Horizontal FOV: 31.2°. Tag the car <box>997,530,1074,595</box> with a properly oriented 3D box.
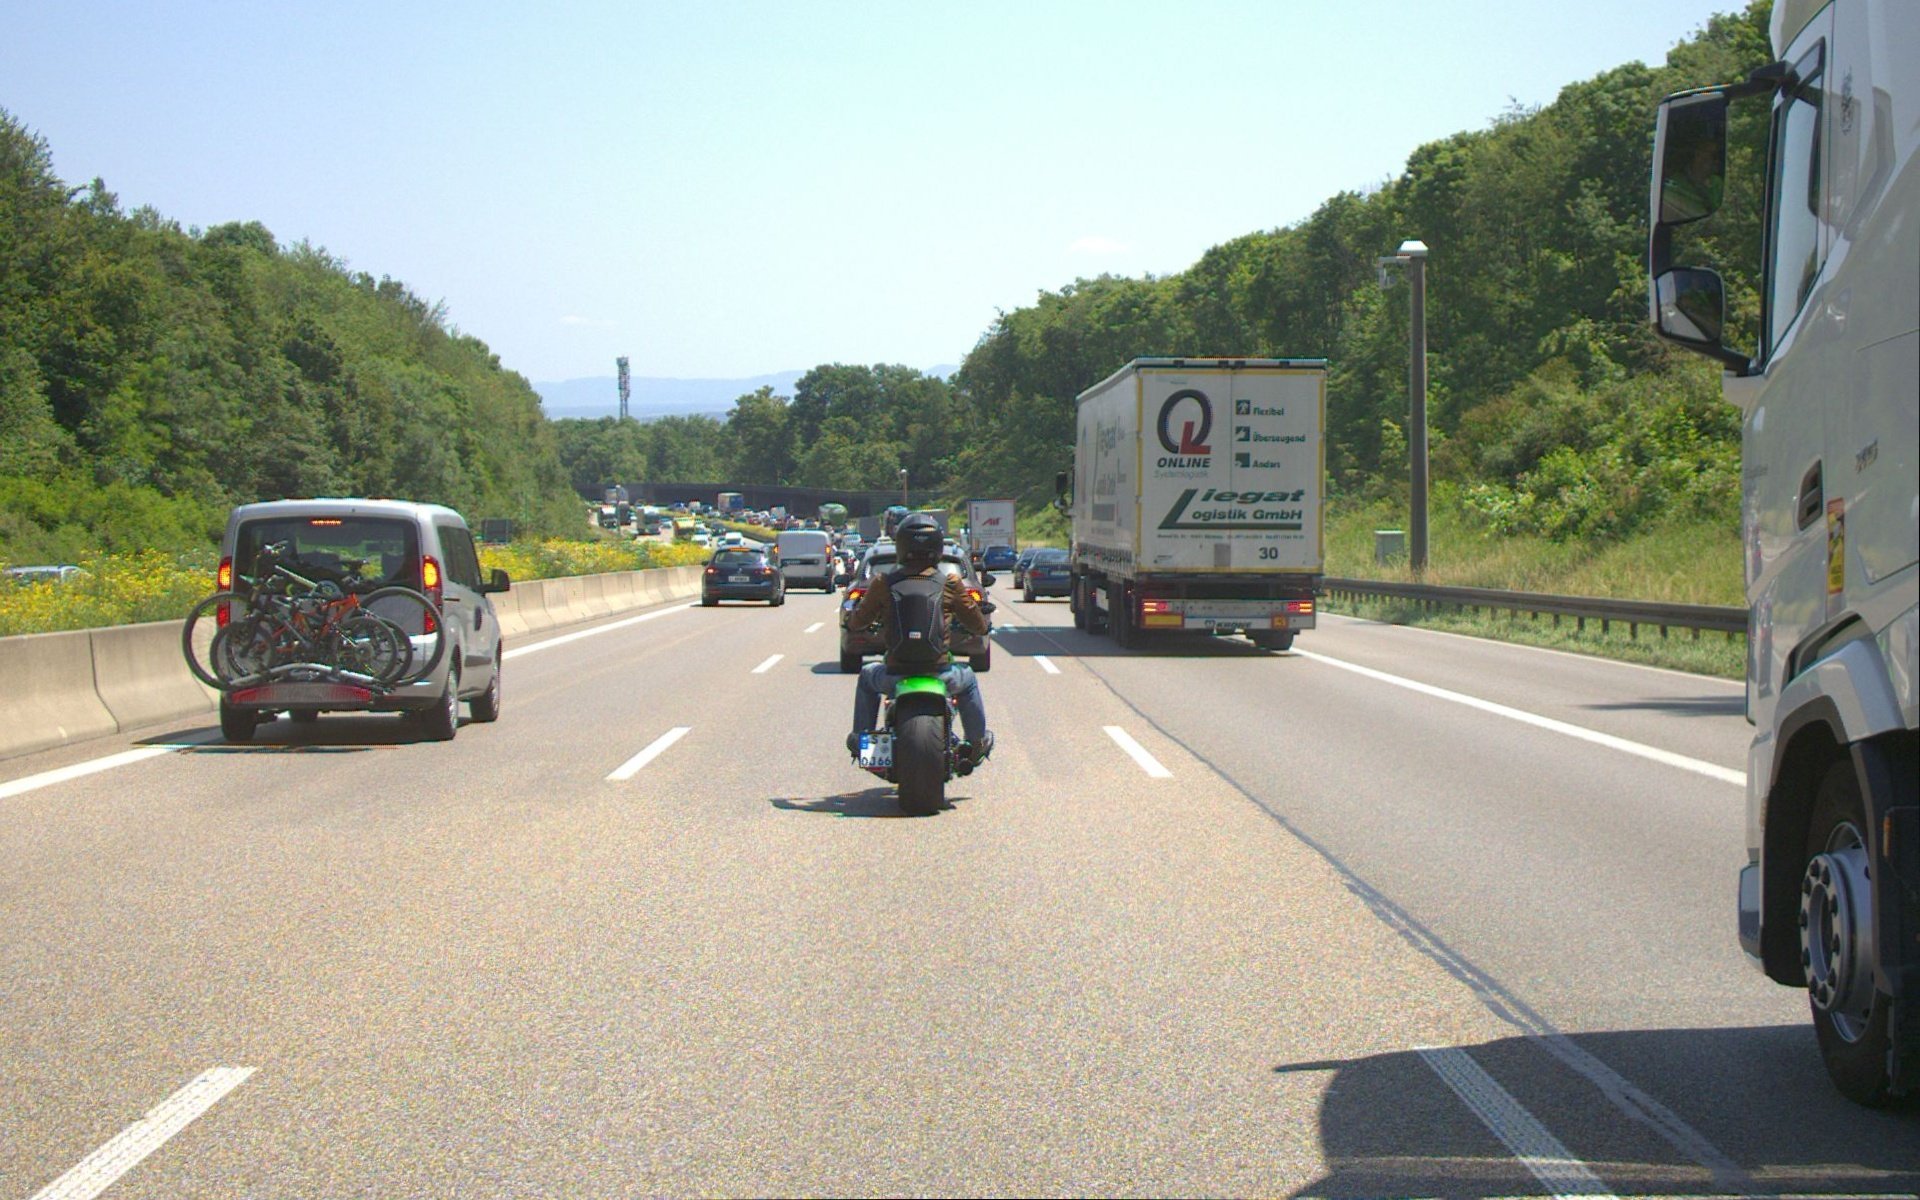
[{"bbox_3d":[1.955,-1.000,89.763,1.831,1.553,4.120,1,2,-1],"label":"car"}]

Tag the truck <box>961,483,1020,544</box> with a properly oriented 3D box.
[{"bbox_3d":[1.695,-4.974,196.032,3.067,3.335,9.653,2,2,-1],"label":"truck"}]

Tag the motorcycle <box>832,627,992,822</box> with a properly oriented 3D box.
[{"bbox_3d":[-0.254,0.682,19.606,0.862,0.978,2.131,0,1,0],"label":"motorcycle"}]

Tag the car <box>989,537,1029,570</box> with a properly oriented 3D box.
[{"bbox_3d":[2.447,-2.342,172.384,1.831,1.553,4.120,1,2,-1],"label":"car"}]

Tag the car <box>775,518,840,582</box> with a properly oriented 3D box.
[{"bbox_3d":[-4.556,-1.520,103.274,1.831,1.804,4.120,1,2,-1],"label":"car"}]

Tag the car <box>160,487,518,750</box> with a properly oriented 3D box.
[{"bbox_3d":[-4.746,0.057,27.072,1.898,1.841,5.484,1,1,-1],"label":"car"}]

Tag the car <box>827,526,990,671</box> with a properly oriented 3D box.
[{"bbox_3d":[-0.624,-0.068,41.414,1.845,1.552,4.440,1,2,-1],"label":"car"}]

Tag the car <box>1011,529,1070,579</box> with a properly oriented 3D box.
[{"bbox_3d":[2.703,-1.569,116.205,1.831,1.553,4.120,1,2,-1],"label":"car"}]

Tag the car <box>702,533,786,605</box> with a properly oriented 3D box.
[{"bbox_3d":[-5.066,-0.759,80.964,1.758,1.538,4.396,1,2,-1],"label":"car"}]

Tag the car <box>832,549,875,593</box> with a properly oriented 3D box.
[{"bbox_3d":[-4.731,-1.300,152.914,1.831,1.804,4.120,1,2,-1],"label":"car"}]

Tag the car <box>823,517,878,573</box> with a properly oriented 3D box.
[{"bbox_3d":[-3.813,-1.940,120.133,1.831,1.804,4.120,1,2,-1],"label":"car"}]

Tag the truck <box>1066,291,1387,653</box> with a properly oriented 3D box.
[{"bbox_3d":[3.805,-2.002,54.461,3.383,4.701,17.711,2,2,-1],"label":"truck"}]

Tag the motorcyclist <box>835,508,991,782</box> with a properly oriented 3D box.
[{"bbox_3d":[-0.256,0.239,19.448,0.856,1.509,0.914,0,1,0],"label":"motorcyclist"}]

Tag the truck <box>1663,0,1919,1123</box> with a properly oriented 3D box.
[{"bbox_3d":[3.659,-0.679,5.764,2.680,4.045,10.627,1,2,0],"label":"truck"}]
